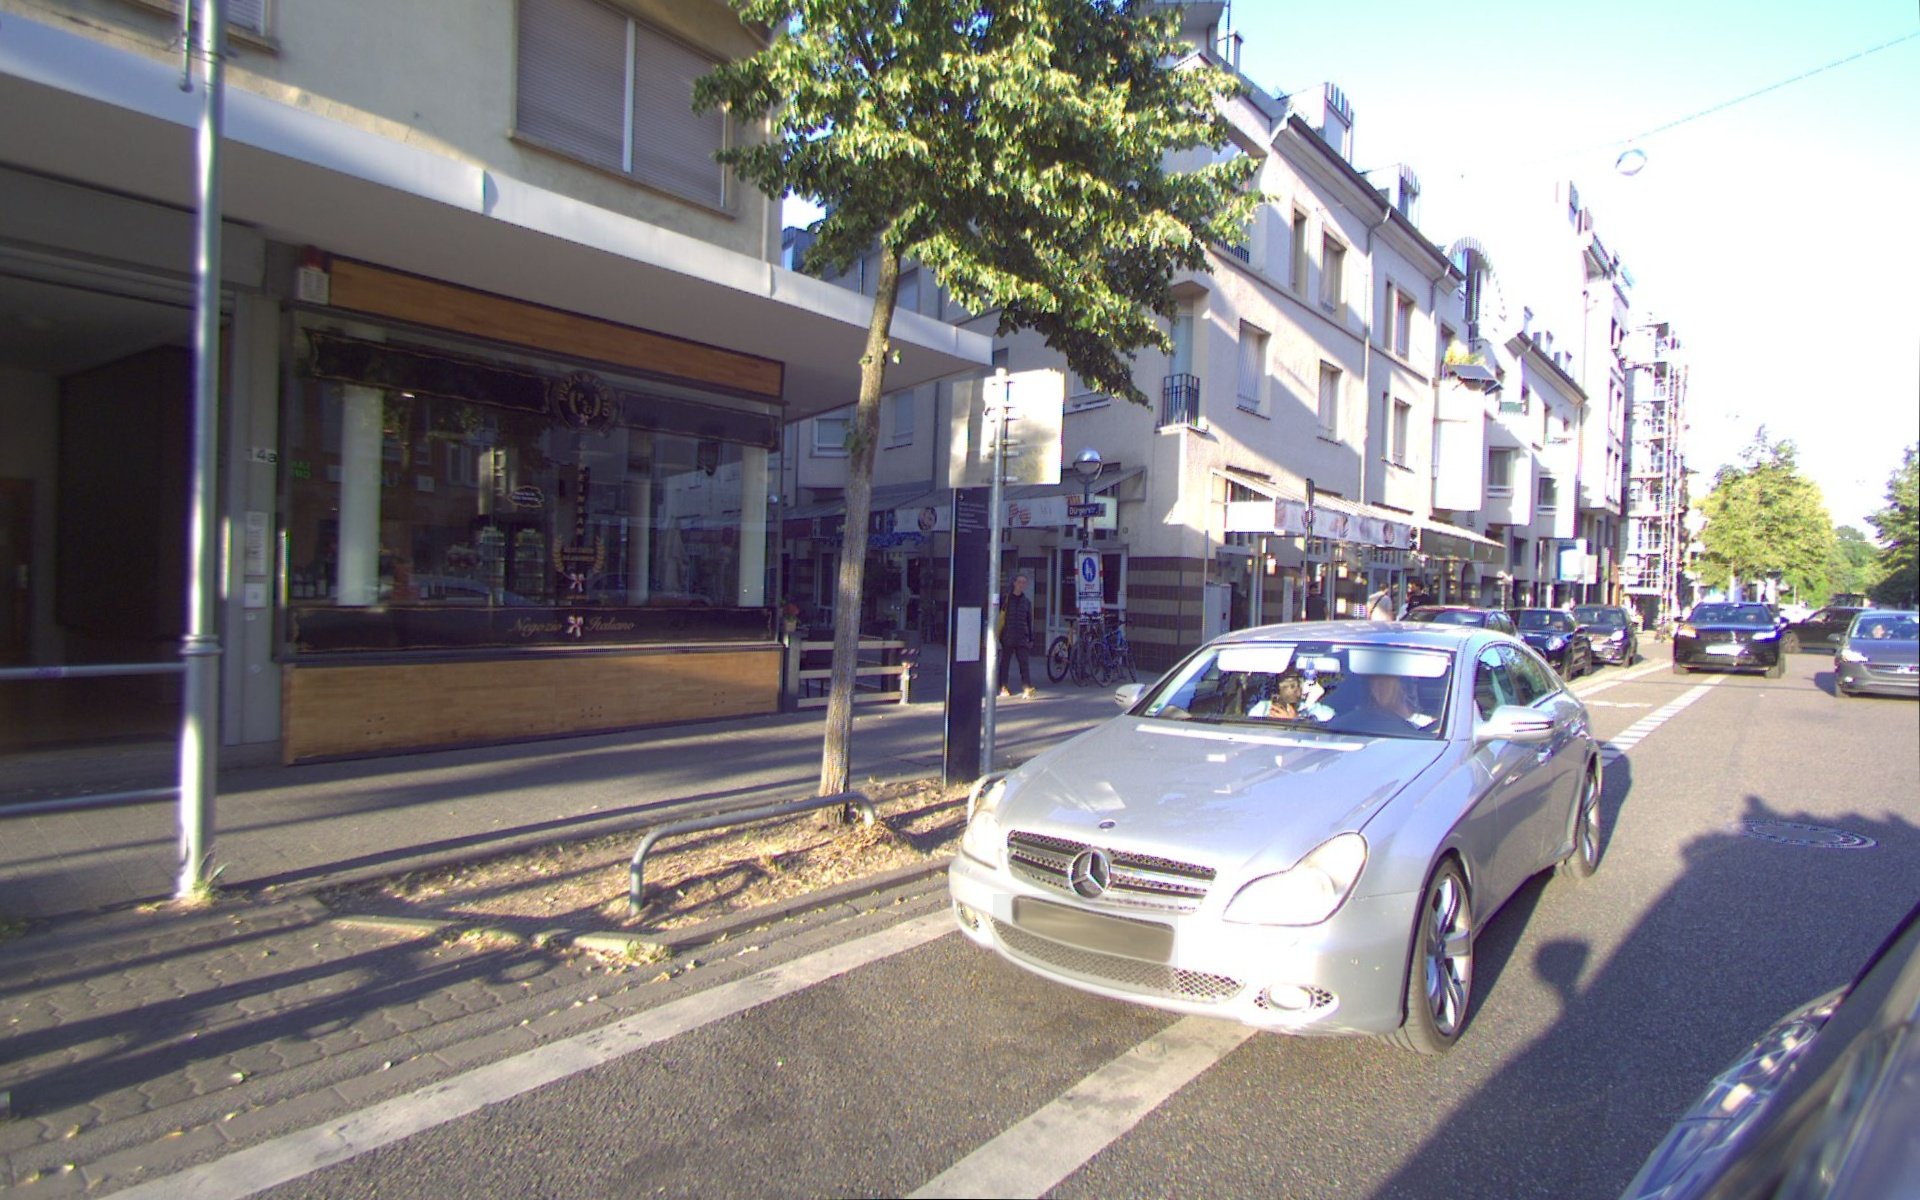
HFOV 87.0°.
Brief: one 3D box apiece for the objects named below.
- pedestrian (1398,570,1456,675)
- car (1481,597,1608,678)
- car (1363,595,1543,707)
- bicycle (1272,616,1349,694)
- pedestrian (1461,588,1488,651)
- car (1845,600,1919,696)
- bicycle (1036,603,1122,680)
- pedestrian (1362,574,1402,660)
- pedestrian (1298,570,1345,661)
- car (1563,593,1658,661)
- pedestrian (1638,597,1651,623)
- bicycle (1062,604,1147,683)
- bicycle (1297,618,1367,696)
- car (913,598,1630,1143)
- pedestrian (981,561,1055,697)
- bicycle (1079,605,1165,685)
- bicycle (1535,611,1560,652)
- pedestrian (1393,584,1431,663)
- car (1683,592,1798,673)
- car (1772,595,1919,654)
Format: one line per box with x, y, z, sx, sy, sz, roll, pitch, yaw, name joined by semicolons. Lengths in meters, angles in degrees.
8.758;0.420;18.977;0.776;1.907;0.660;-2;-2;41;pedestrian
12.251;0.712;21.123;1.615;1.452;3.868;3;2;40;car
7.775;0.696;15.786;1.587;1.451;3.868;4;2;40;car
5.256;0.794;15.119;0.314;1.059;1.853;3;2;43;bicycle
15.019;0.554;29.567;0.566;1.823;0.449;0;0;3;pedestrian
16.089;0.754;17.118;1.616;1.492;3.634;0;0;41;car
1.876;0.611;15.727;0.320;1.118;1.851;2;1;41;bicycle
9.010;0.361;21.606;0.543;1.779;0.495;5;3;41;pedestrian
7.280;0.301;20.379;0.629;1.771;0.660;3;2;41;pedestrian
17.193;0.652;26.682;1.615;1.612;3.868;2;1;40;car
34.668;0.506;51.281;0.490;1.279;0.415;0;0;42;pedestrian
2.218;0.630;15.380;0.290;1.118;1.859;2;1;41;bicycle
5.471;0.808;14.847;0.314;1.059;1.638;3;2;43;bicycle
1.956;0.718;5.004;1.740;1.418;4.571;1;0;40;car
0.748;0.362;13.265;0.688;1.696;0.799;2;2;-13;pedestrian
2.450;0.644;15.174;0.320;1.118;1.851;2;1;41;bicycle
16.251;0.860;27.987;0.295;1.099;1.441;1;1;41;bicycle
9.521;0.479;21.322;0.519;1.612;0.402;5;3;41;pedestrian
17.924;0.673;23.172;1.884;1.656;4.165;0;0;41;car
29.693;0.783;33.281;1.701;1.696;4.302;1;1;-29;car
